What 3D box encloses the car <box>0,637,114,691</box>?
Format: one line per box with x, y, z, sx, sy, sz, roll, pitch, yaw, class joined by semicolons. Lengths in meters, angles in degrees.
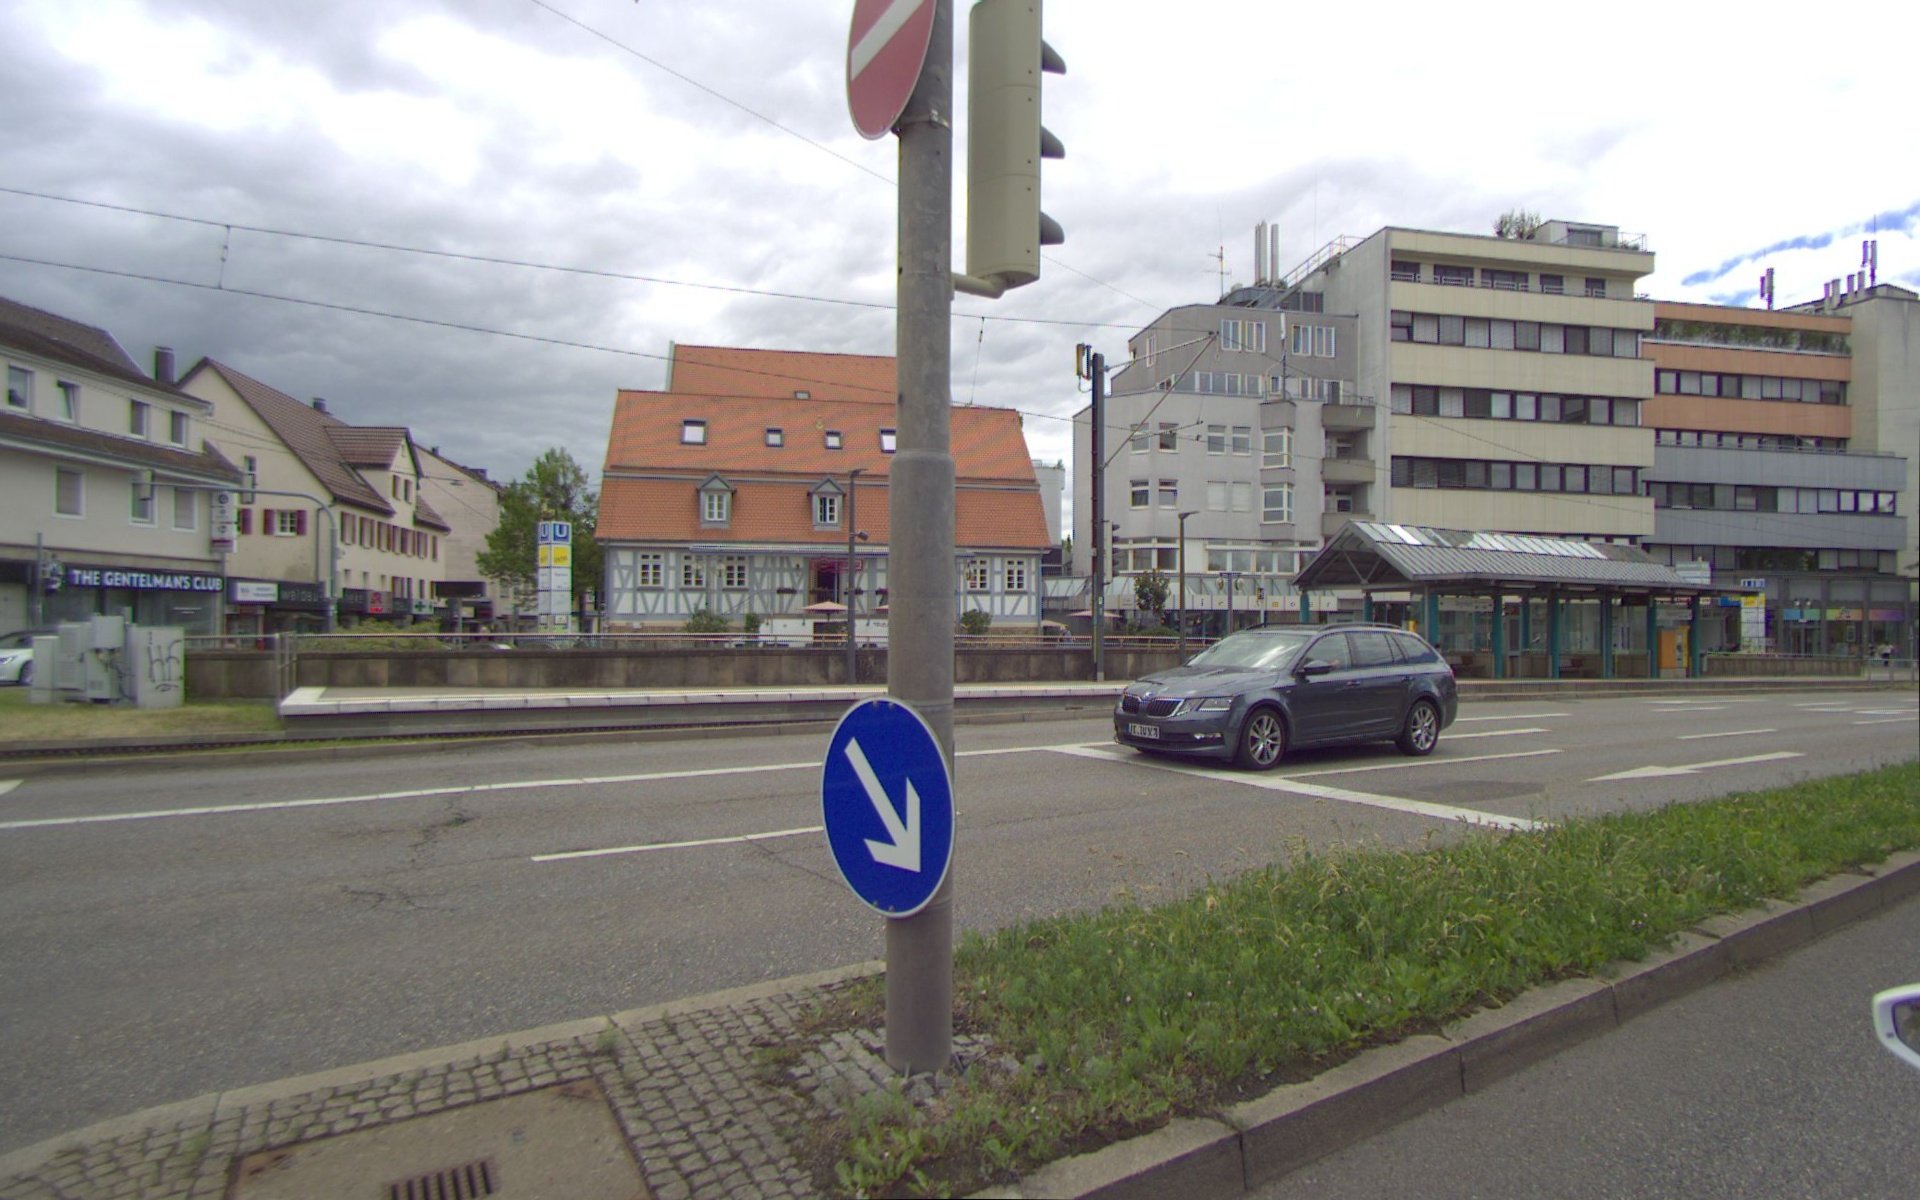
-25.103;1.666;26.823;1.950;1.312;3.908;1;-2;-6;car

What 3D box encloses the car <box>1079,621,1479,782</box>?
3.658;0.996;11.202;4.563;1.474;1.788;1;-2;-33;car

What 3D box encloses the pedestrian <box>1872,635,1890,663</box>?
57.822;3.077;63.081;0.577;1.695;0.725;1;-1;-37;pedestrian
